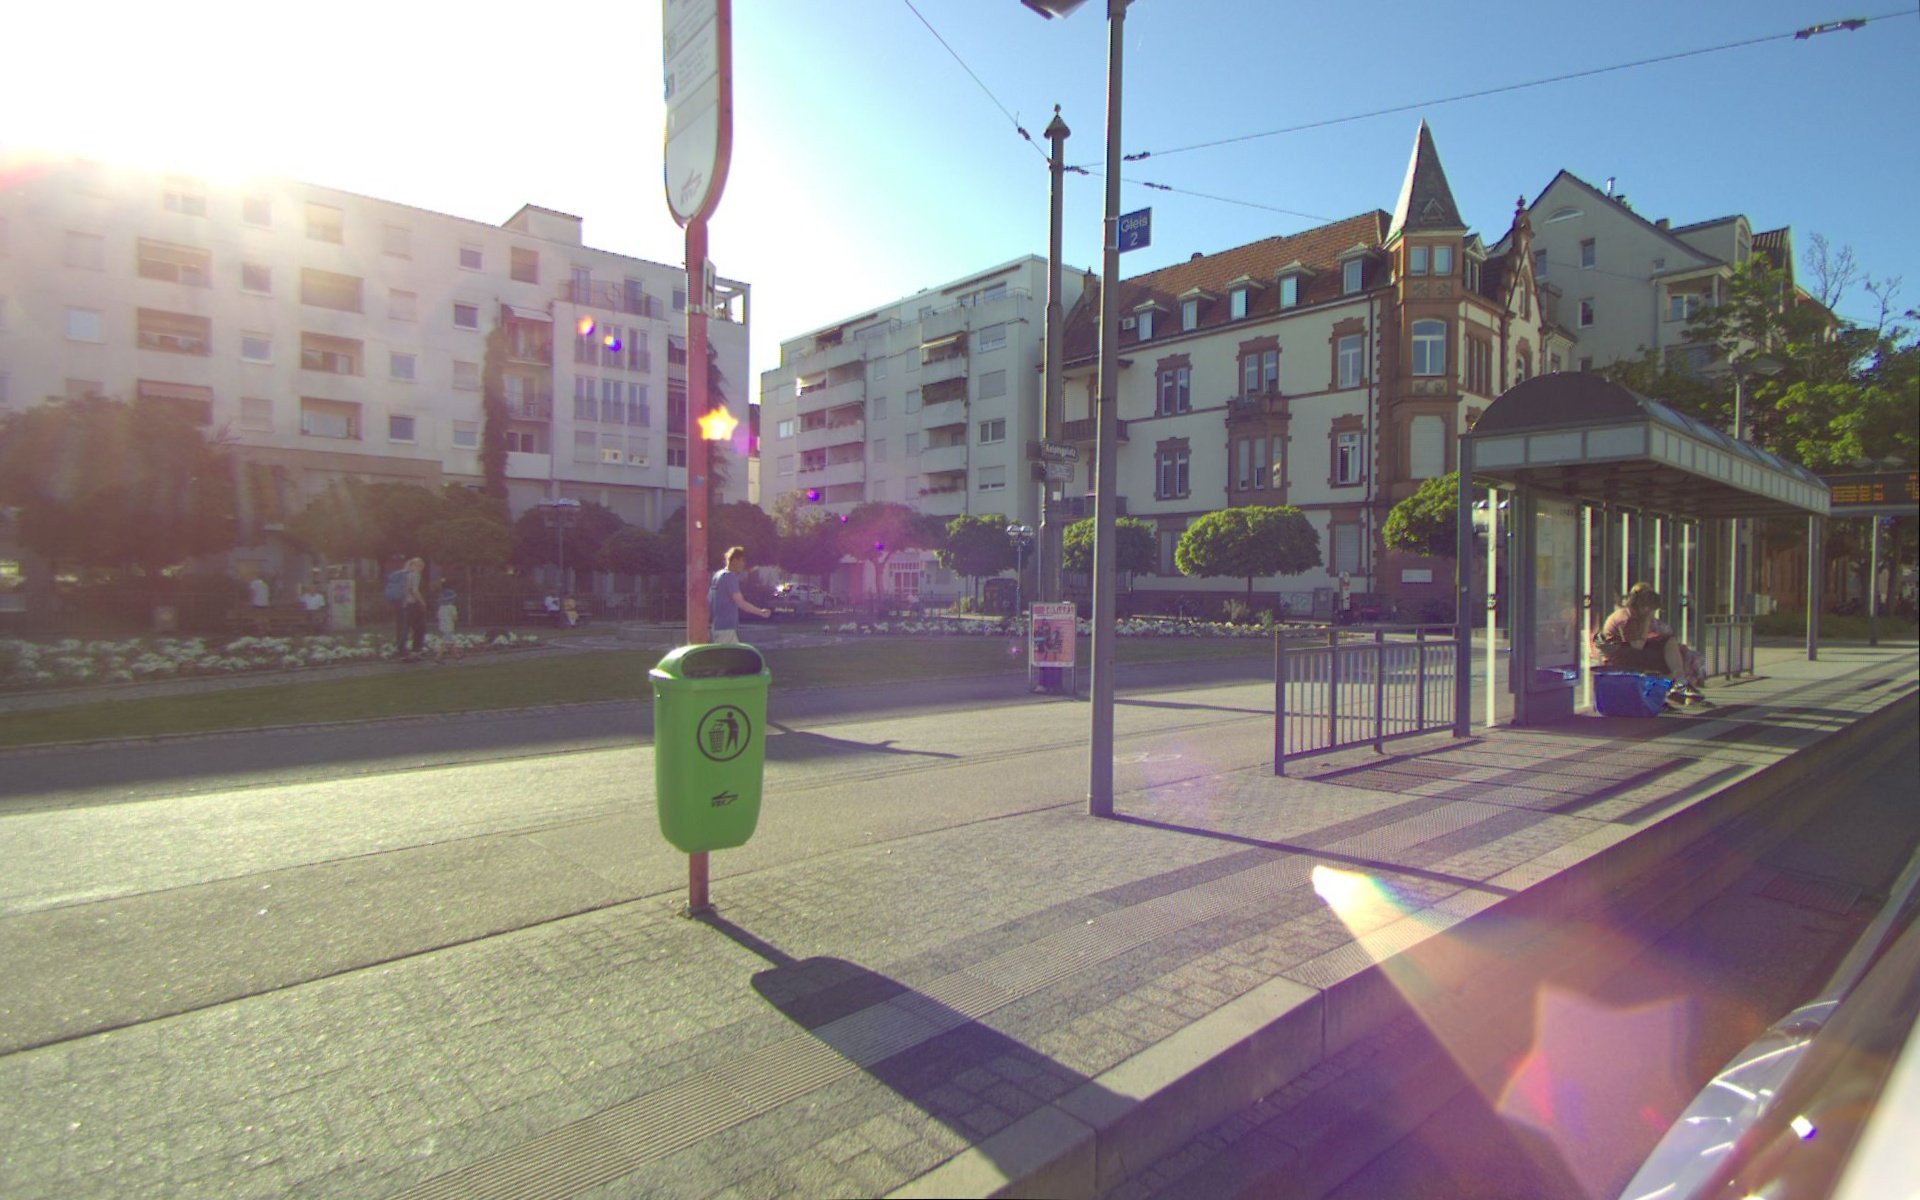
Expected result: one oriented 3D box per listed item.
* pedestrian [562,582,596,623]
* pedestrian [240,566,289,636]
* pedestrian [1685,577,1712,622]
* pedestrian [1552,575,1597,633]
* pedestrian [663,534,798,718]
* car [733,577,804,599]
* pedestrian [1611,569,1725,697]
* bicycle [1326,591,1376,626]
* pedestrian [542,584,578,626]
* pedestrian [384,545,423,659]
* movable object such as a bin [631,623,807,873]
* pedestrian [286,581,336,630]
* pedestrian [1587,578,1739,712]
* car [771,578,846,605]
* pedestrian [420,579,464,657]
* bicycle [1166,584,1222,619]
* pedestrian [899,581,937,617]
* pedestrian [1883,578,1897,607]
[{"bbox_3d":[-12.055,0.069,32.025,0.738,1.287,0.725,1,1,29],"label":"pedestrian"},{"bbox_3d":[-17.681,0.005,25.730,1.018,1.746,0.668,1,1,29],"label":"pedestrian"},{"bbox_3d":[29.331,-0.038,40.188,0.740,1.757,0.864,1,1,43],"label":"pedestrian"},{"bbox_3d":[18.458,0.112,30.416,1.064,1.689,0.944,1,1,37],"label":"pedestrian"},{"bbox_3d":[-2.542,0.245,11.203,1.110,1.901,0.982,-1,2,-43],"label":"pedestrian"},{"bbox_3d":[-12.037,-0.751,63.549,3.923,1.304,2.001,0,1,-34],"label":"car"},{"bbox_3d":[7.835,0.361,11.209,0.612,1.351,0.860,-1,-2,-40],"label":"pedestrian"},{"bbox_3d":[13.651,0.266,35.305,0.786,1.081,2.767,1,3,40],"label":"bicycle"},{"bbox_3d":[-12.407,0.151,31.392,0.738,1.287,0.725,1,1,29],"label":"pedestrian"},{"bbox_3d":[-8.819,0.023,16.028,0.516,1.767,0.560,-1,0,-30],"label":"pedestrian"},{"bbox_3d":[-0.873,0.495,3.655,0.480,0.796,0.450,0,1,-38],"label":"movable object such as a bin"},{"bbox_3d":[-17.353,0.141,27.067,1.032,1.287,0.725,1,1,29],"label":"pedestrian"},{"bbox_3d":[6.988,0.424,10.071,0.907,1.241,1.000,-1,-2,-40],"label":"pedestrian"},{"bbox_3d":[-8.897,-0.486,59.589,3.923,1.536,2.001,0,1,-34],"label":"car"},{"bbox_3d":[-8.061,0.267,15.747,0.547,1.183,0.471,-1,0,-32],"label":"pedestrian"},{"bbox_3d":[9.783,0.047,42.248,2.864,1.389,0.745,0,1,-41],"label":"bicycle"},{"bbox_3d":[-1.705,-0.059,40.711,0.917,1.429,1.529,0,1,-30],"label":"pedestrian"},{"bbox_3d":[65.421,-0.526,71.208,0.549,2.039,0.654,0,1,-38],"label":"pedestrian"}]
